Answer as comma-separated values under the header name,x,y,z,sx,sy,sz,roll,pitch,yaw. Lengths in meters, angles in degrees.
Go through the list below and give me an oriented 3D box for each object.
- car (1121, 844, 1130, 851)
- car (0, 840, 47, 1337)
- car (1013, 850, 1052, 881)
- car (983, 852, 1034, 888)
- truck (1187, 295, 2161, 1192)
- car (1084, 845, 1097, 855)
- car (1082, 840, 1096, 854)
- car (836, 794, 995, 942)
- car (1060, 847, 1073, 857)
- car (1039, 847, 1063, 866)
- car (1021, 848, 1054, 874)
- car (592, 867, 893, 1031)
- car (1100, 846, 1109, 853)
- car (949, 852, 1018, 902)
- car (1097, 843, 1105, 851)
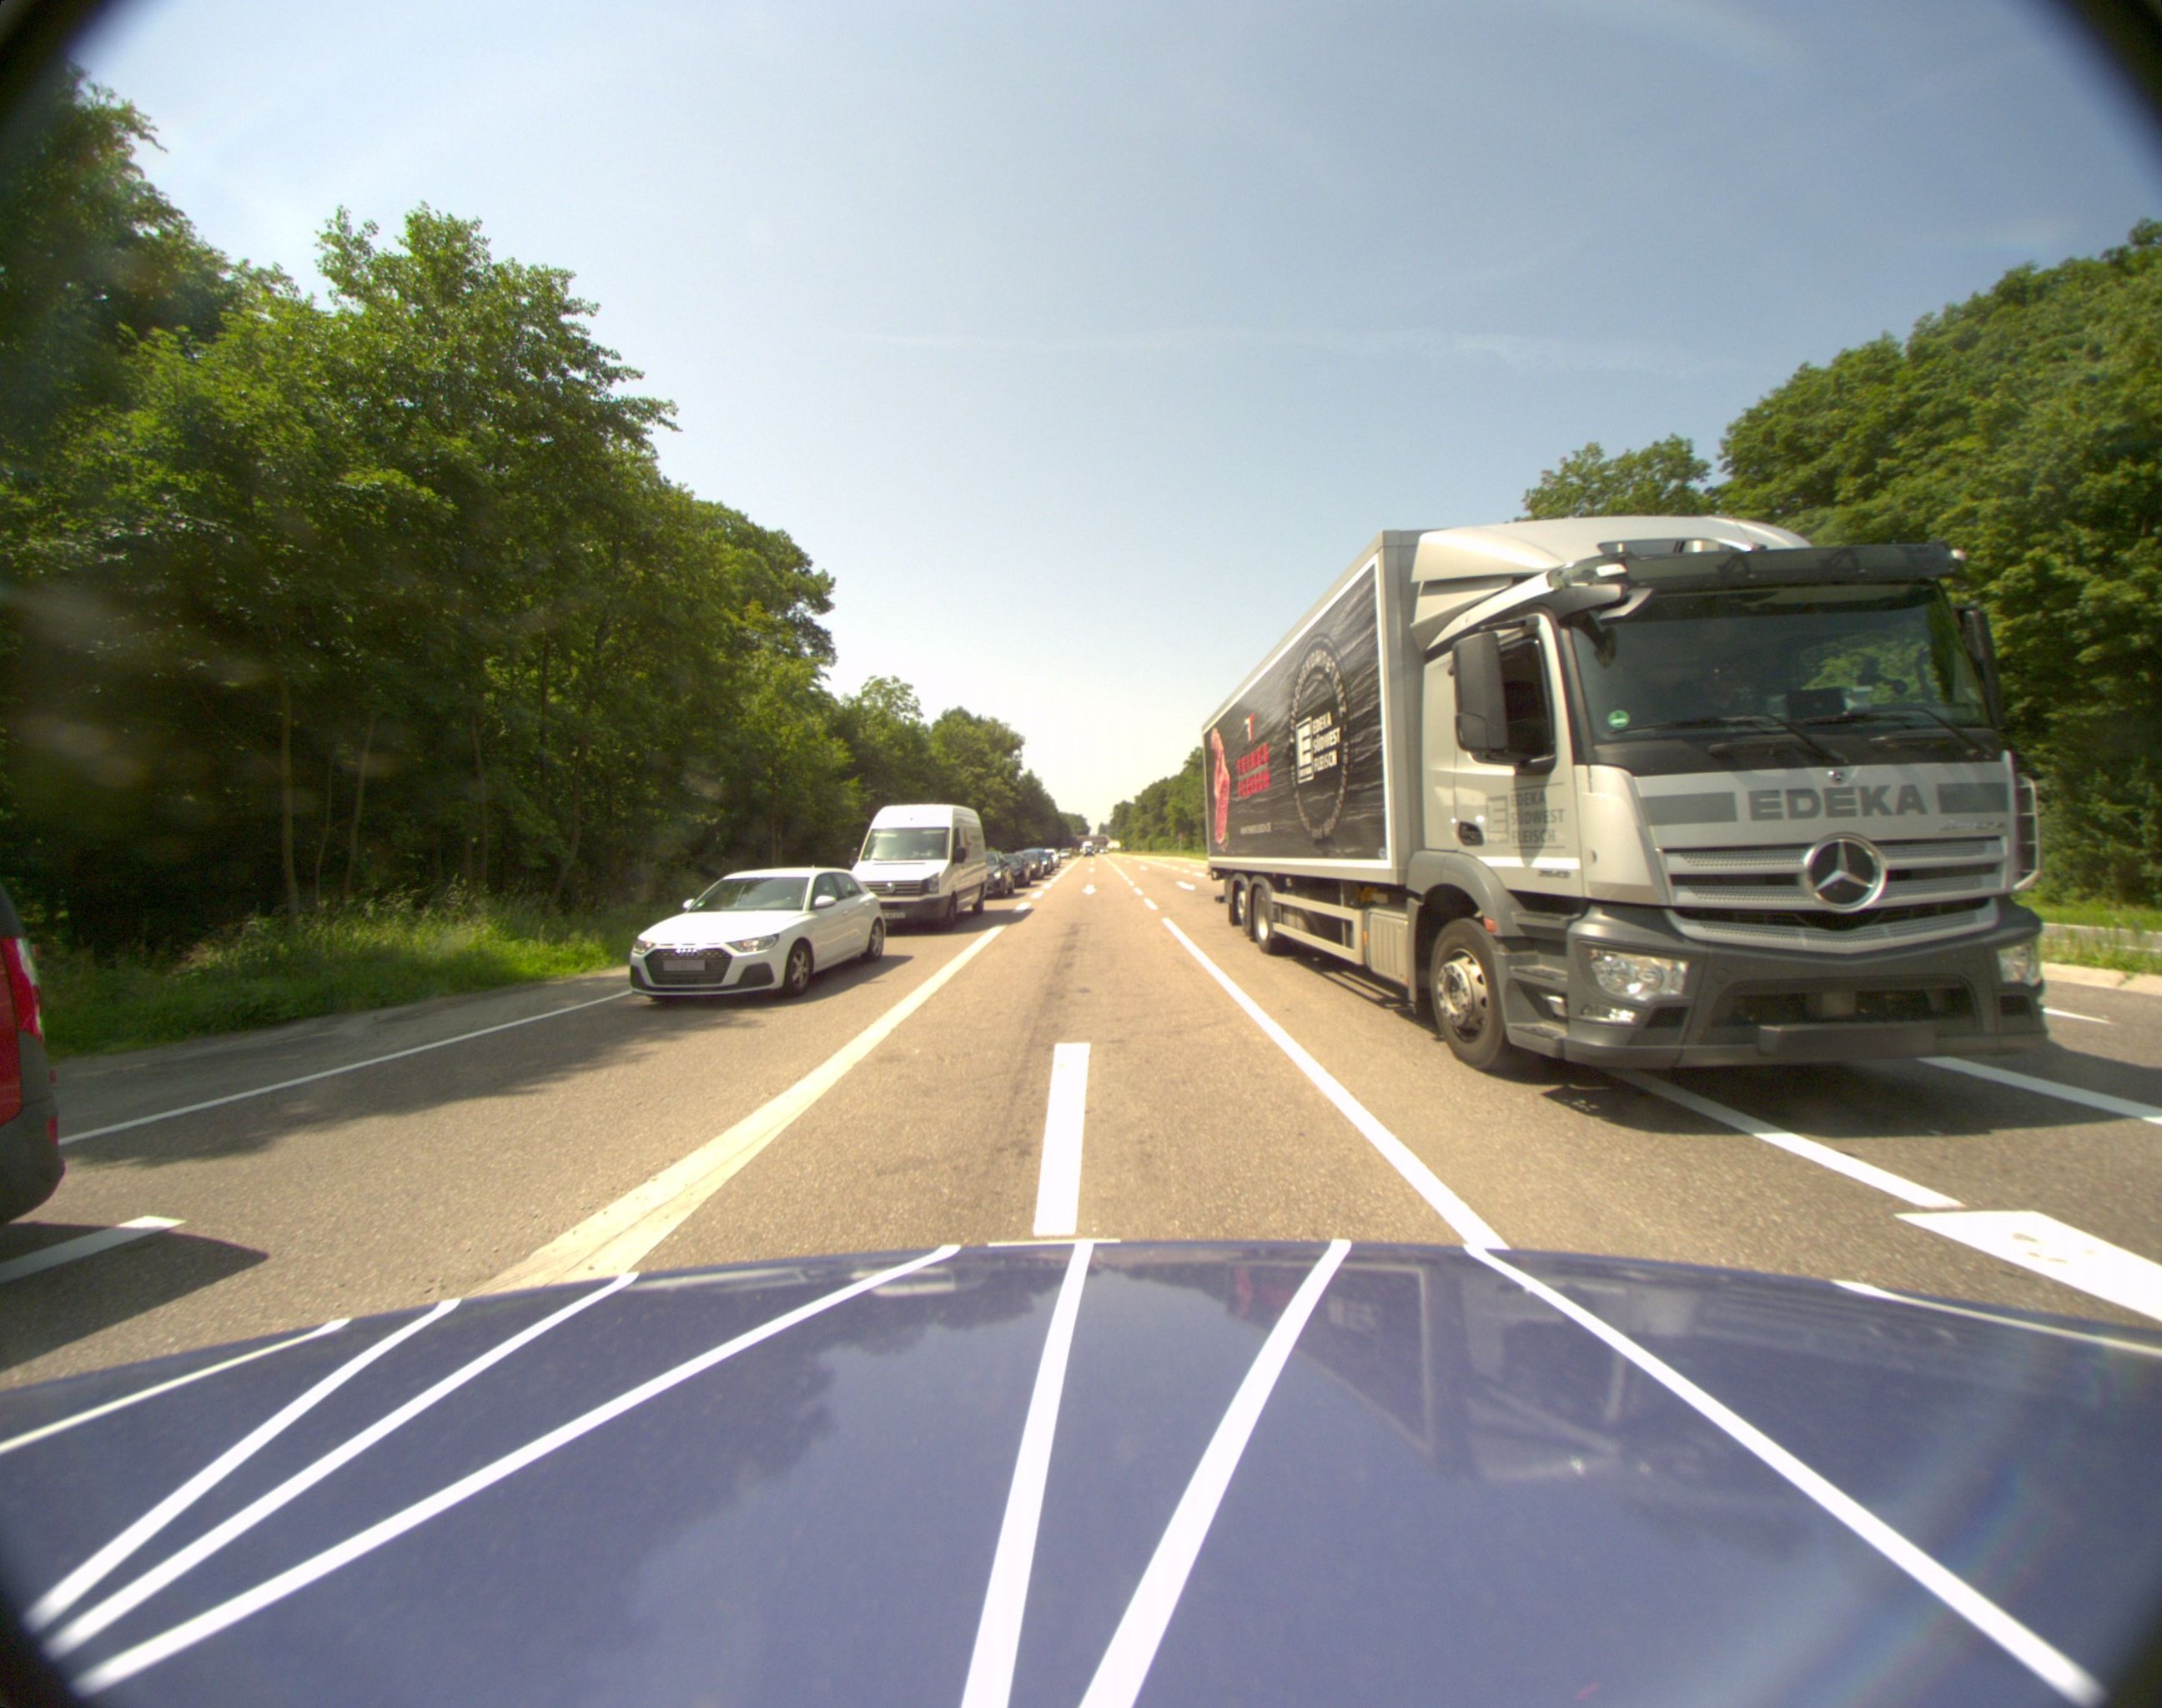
name,x,y,z,sx,sy,sz,roll,pitch,yaw
car,11.241,-1.630,192.098,1.998,1.543,3.999,-2,1,0
car,-5.317,0.920,0.860,1.794,1.812,4.500,-2,1,13
car,-2.476,0.565,39.714,1.796,1.431,4.227,-1,1,0
car,-3.035,0.648,32.524,1.796,1.348,4.227,-1,1,0
truck,3.515,-0.551,9.016,2.753,3.863,11.318,-2,1,0
car,1.587,-0.663,126.508,1.992,1.575,4.364,-1,1,0
car,1.678,-1.445,158.043,2.673,2.685,6.330,0,1,3
car,-3.382,0.231,16.968,1.974,2.630,6.059,-2,1,2
car,-2.032,-0.264,110.236,1.796,1.431,4.227,-1,1,0
car,-2.426,0.171,61.590,1.796,1.431,4.227,0,1,0
car,-2.579,0.410,45.849,1.796,1.431,4.227,-1,1,0
car,-3.847,0.986,9.508,1.693,1.427,4.000,-3,1,4
car,5.124,-0.991,166.057,1.998,1.543,3.999,0,1,0
car,-3.234,0.729,25.986,1.796,1.452,4.227,-2,1,0
car,5.045,-1.762,190.576,1.998,1.868,4.001,0,1,4
